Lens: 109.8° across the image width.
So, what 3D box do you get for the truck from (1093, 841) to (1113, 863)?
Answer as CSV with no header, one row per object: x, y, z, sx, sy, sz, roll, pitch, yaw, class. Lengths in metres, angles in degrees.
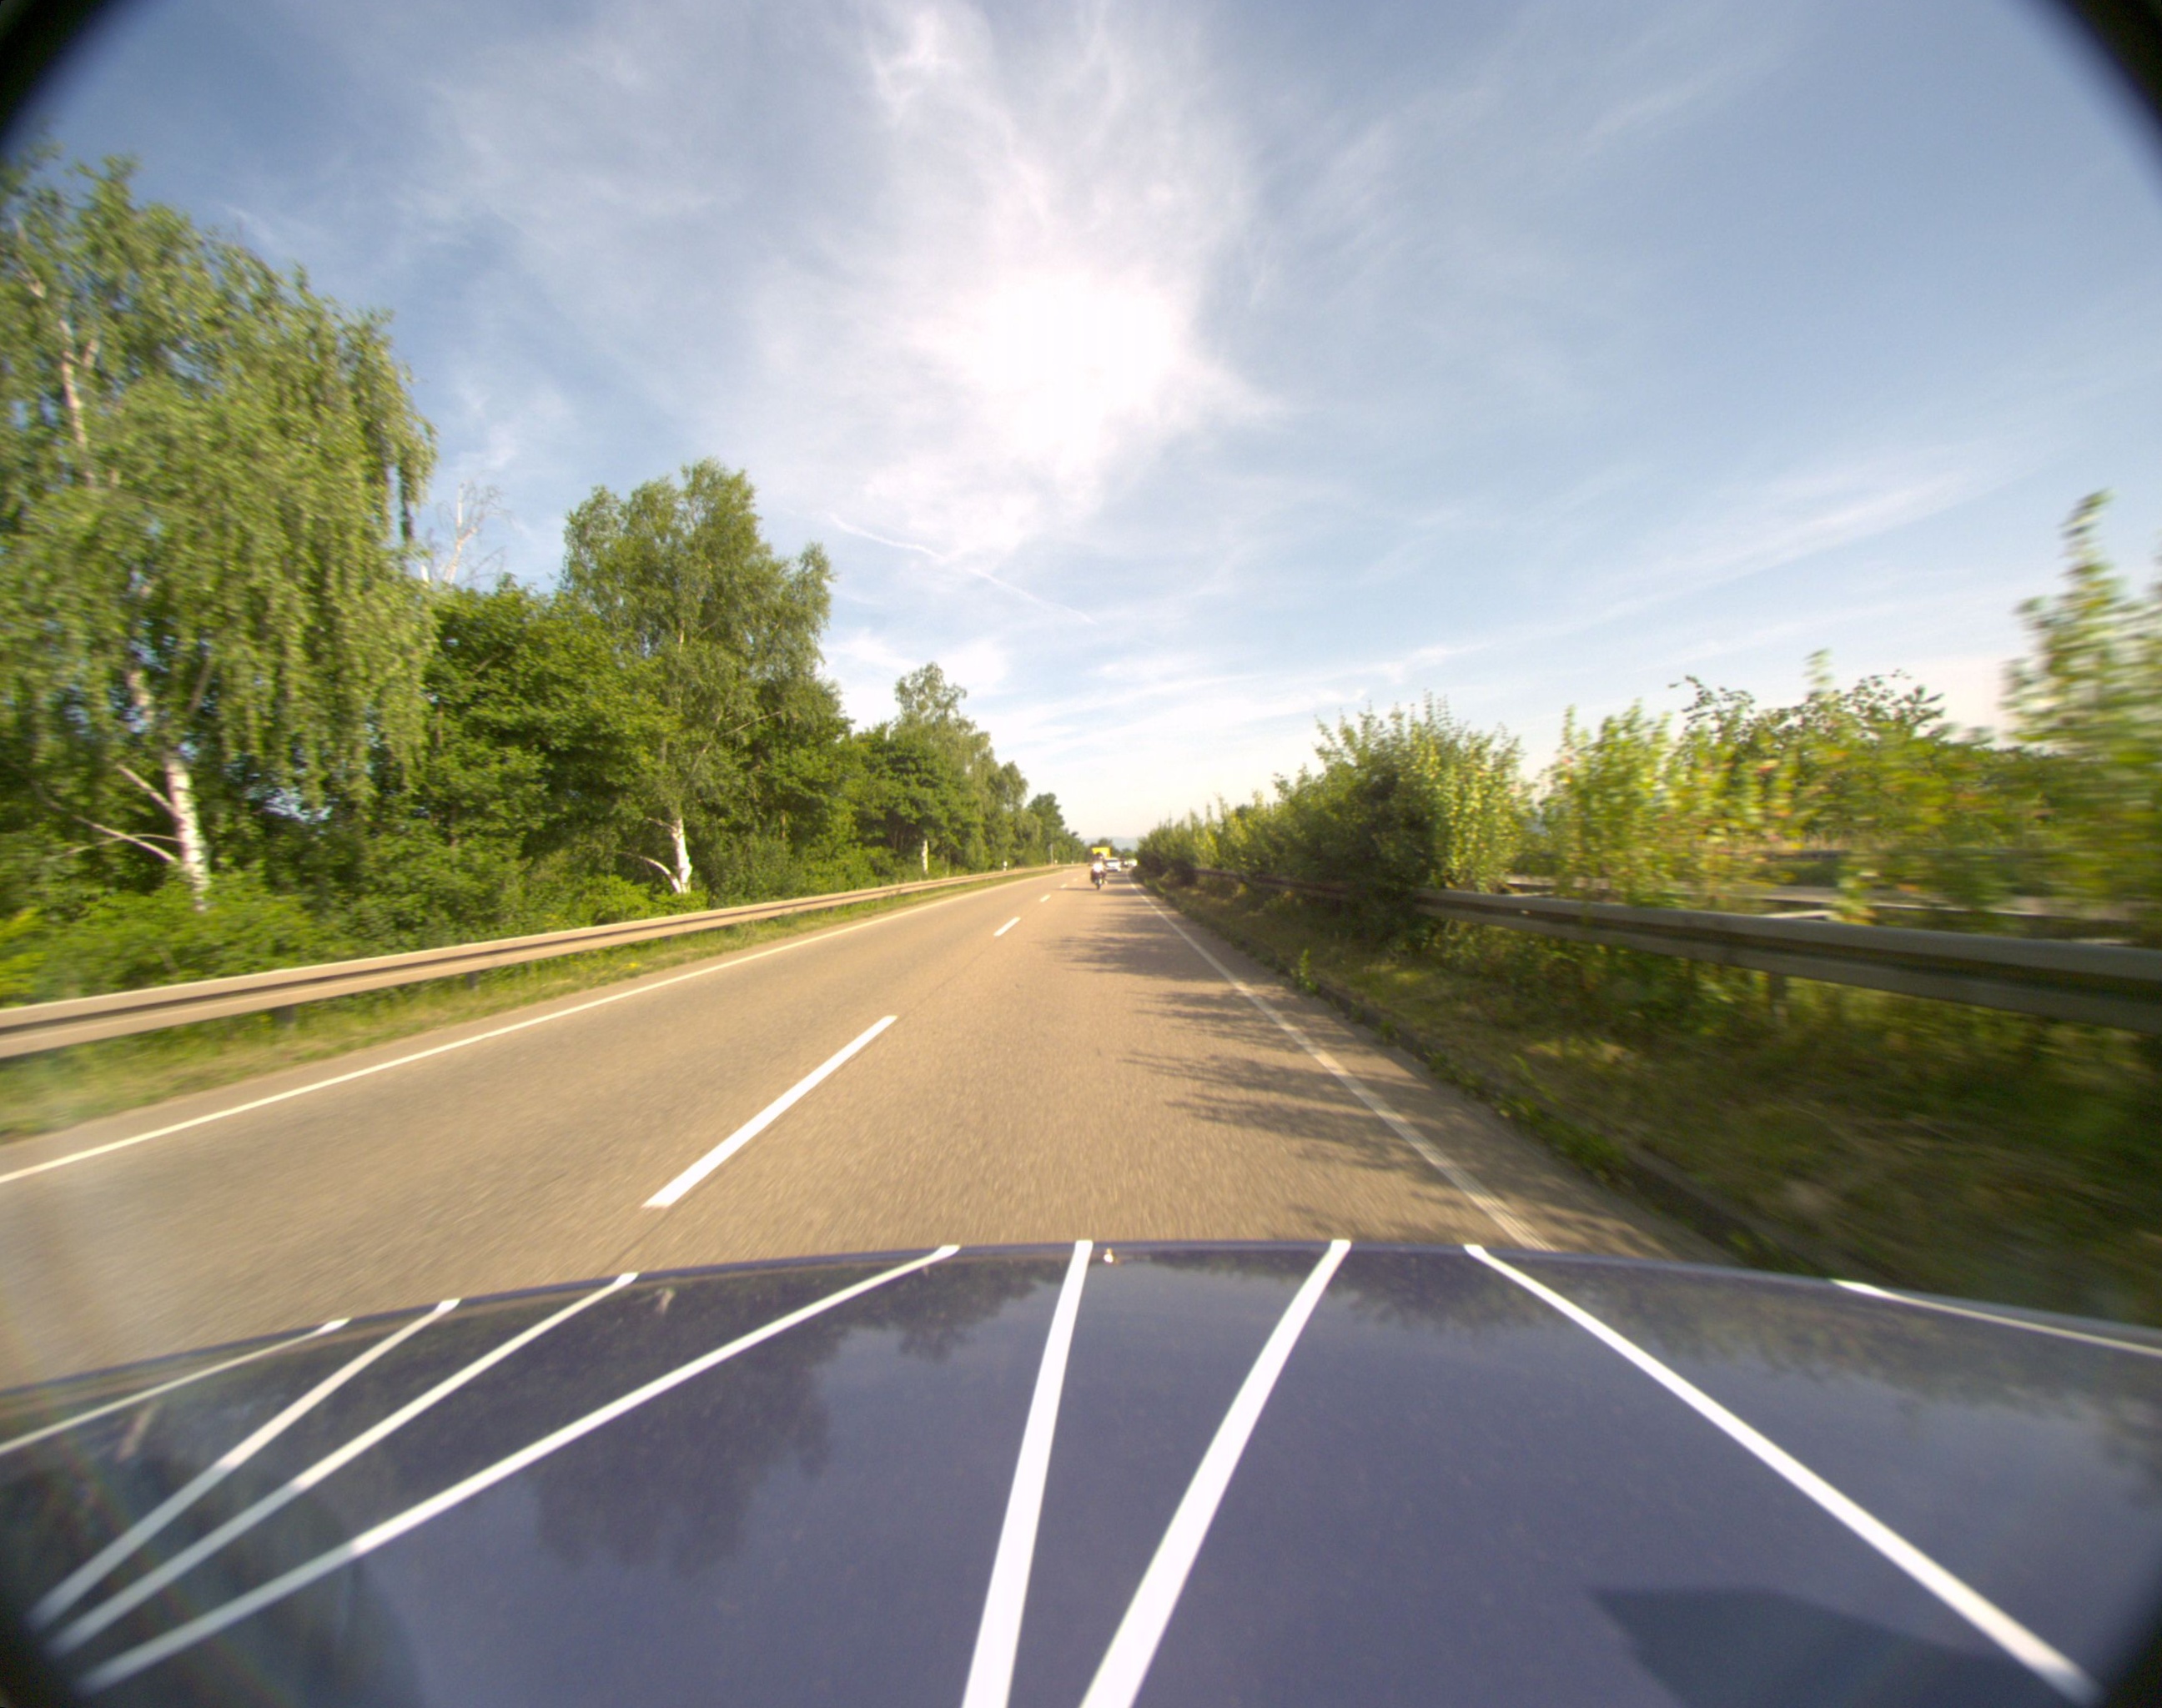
3.721,-0.315,127.169,2.785,3.296,10.494,-2,-1,3,truck

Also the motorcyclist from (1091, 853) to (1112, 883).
0.949,0.656,35.211,0.937,1.344,1.143,-2,0,2,motorcyclist

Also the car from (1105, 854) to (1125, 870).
3.350,0.728,75.247,1.869,1.454,4.084,-2,0,3,car

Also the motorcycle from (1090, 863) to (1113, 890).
0.961,1.021,35.200,0.937,1.131,2.583,-2,0,3,motorcycle
